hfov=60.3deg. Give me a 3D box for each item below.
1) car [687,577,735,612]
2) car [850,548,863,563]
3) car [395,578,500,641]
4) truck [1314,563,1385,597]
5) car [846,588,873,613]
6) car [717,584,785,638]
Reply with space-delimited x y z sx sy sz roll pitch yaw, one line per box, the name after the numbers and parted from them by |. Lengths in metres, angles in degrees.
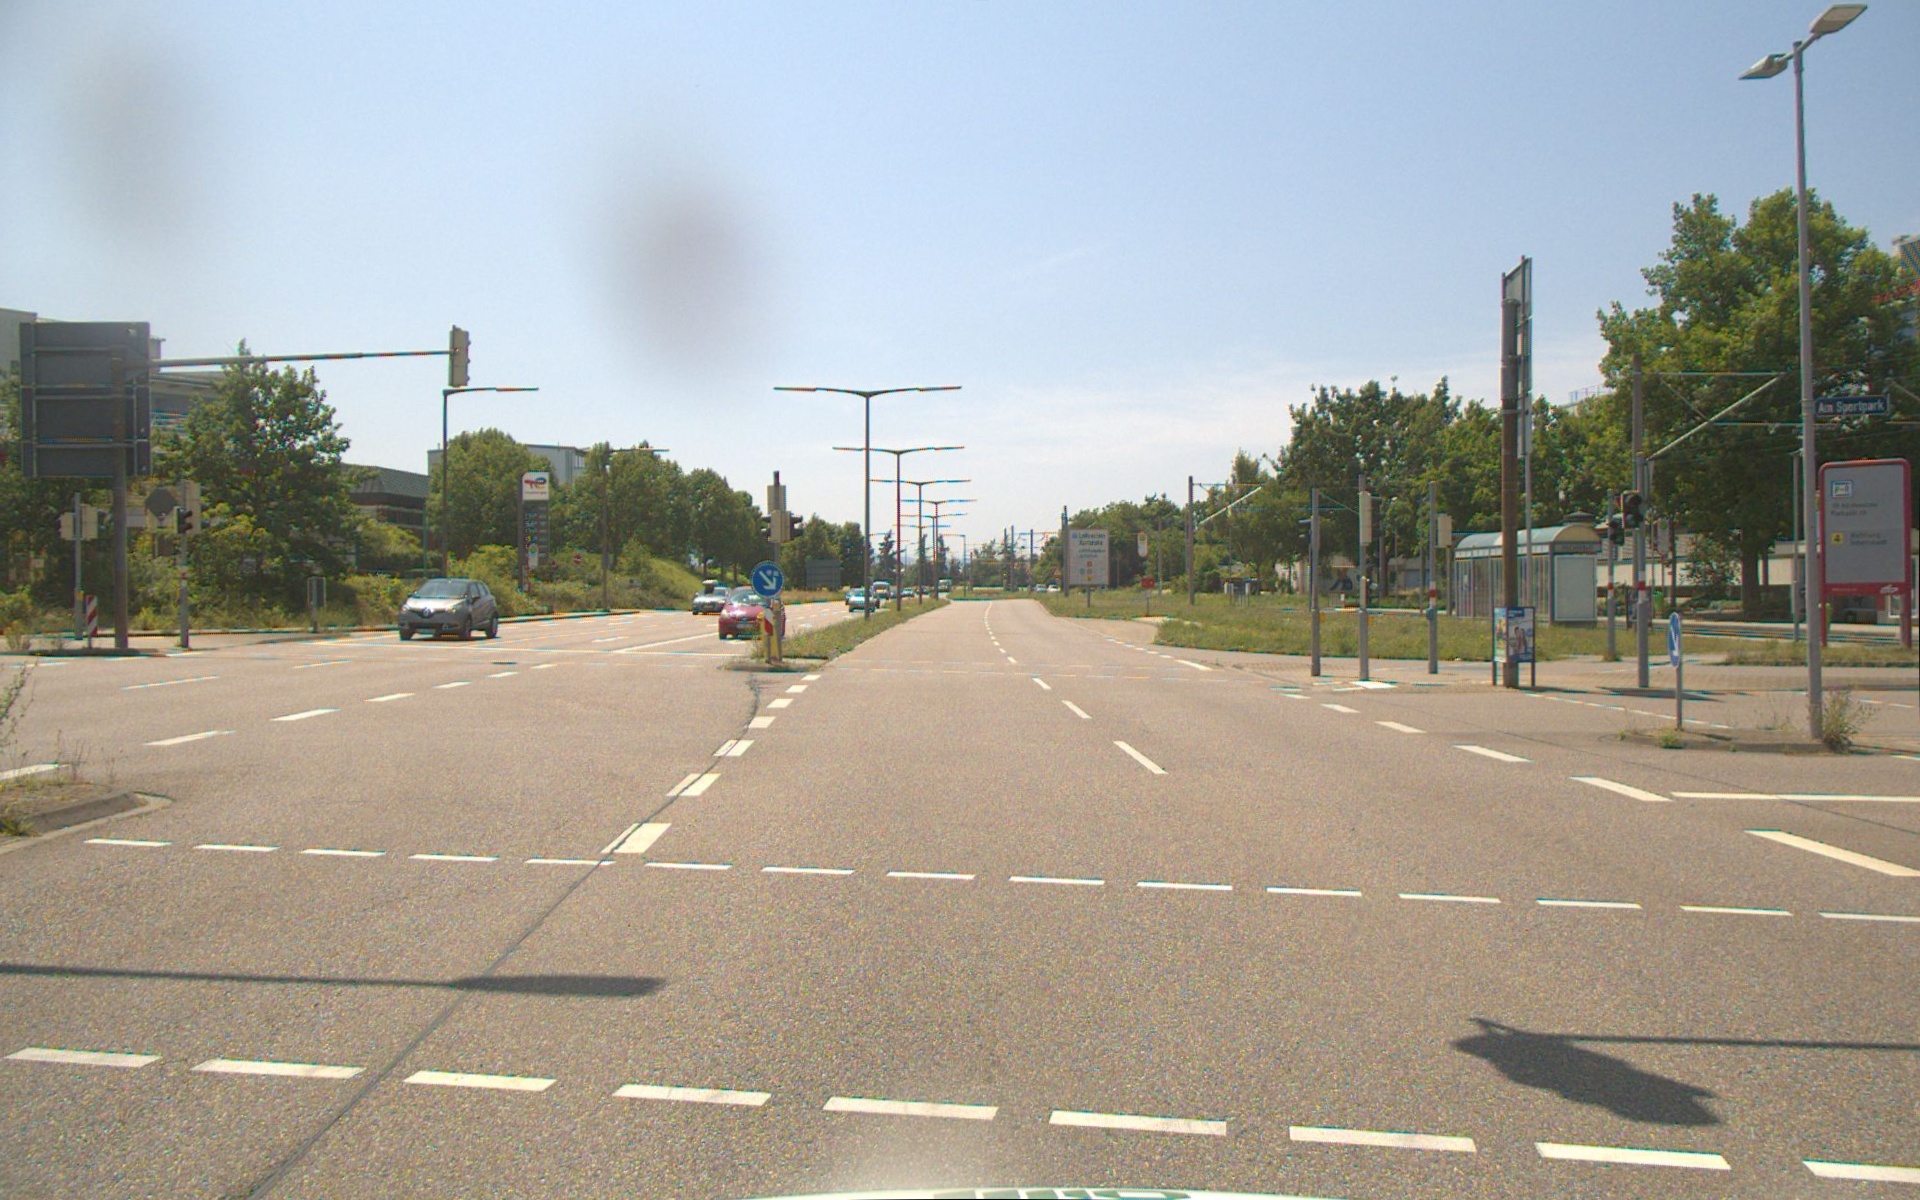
-13.128 -0.306 87.439 1.925 1.780 5.021 0 1 -2 | car
-15.639 -6.662 249.331 1.954 2.049 3.997 1 0 -4 | car
-13.532 0.231 43.889 1.625 1.566 3.999 1 1 -2 | car
34.929 -1.777 148.497 5.730 2.893 2.316 -2 0 -8 | truck
-6.268 0.009 103.320 1.529 1.448 3.853 0 1 -2 | car
-6.182 0.296 49.187 1.625 1.516 3.999 0 1 -2 | car
